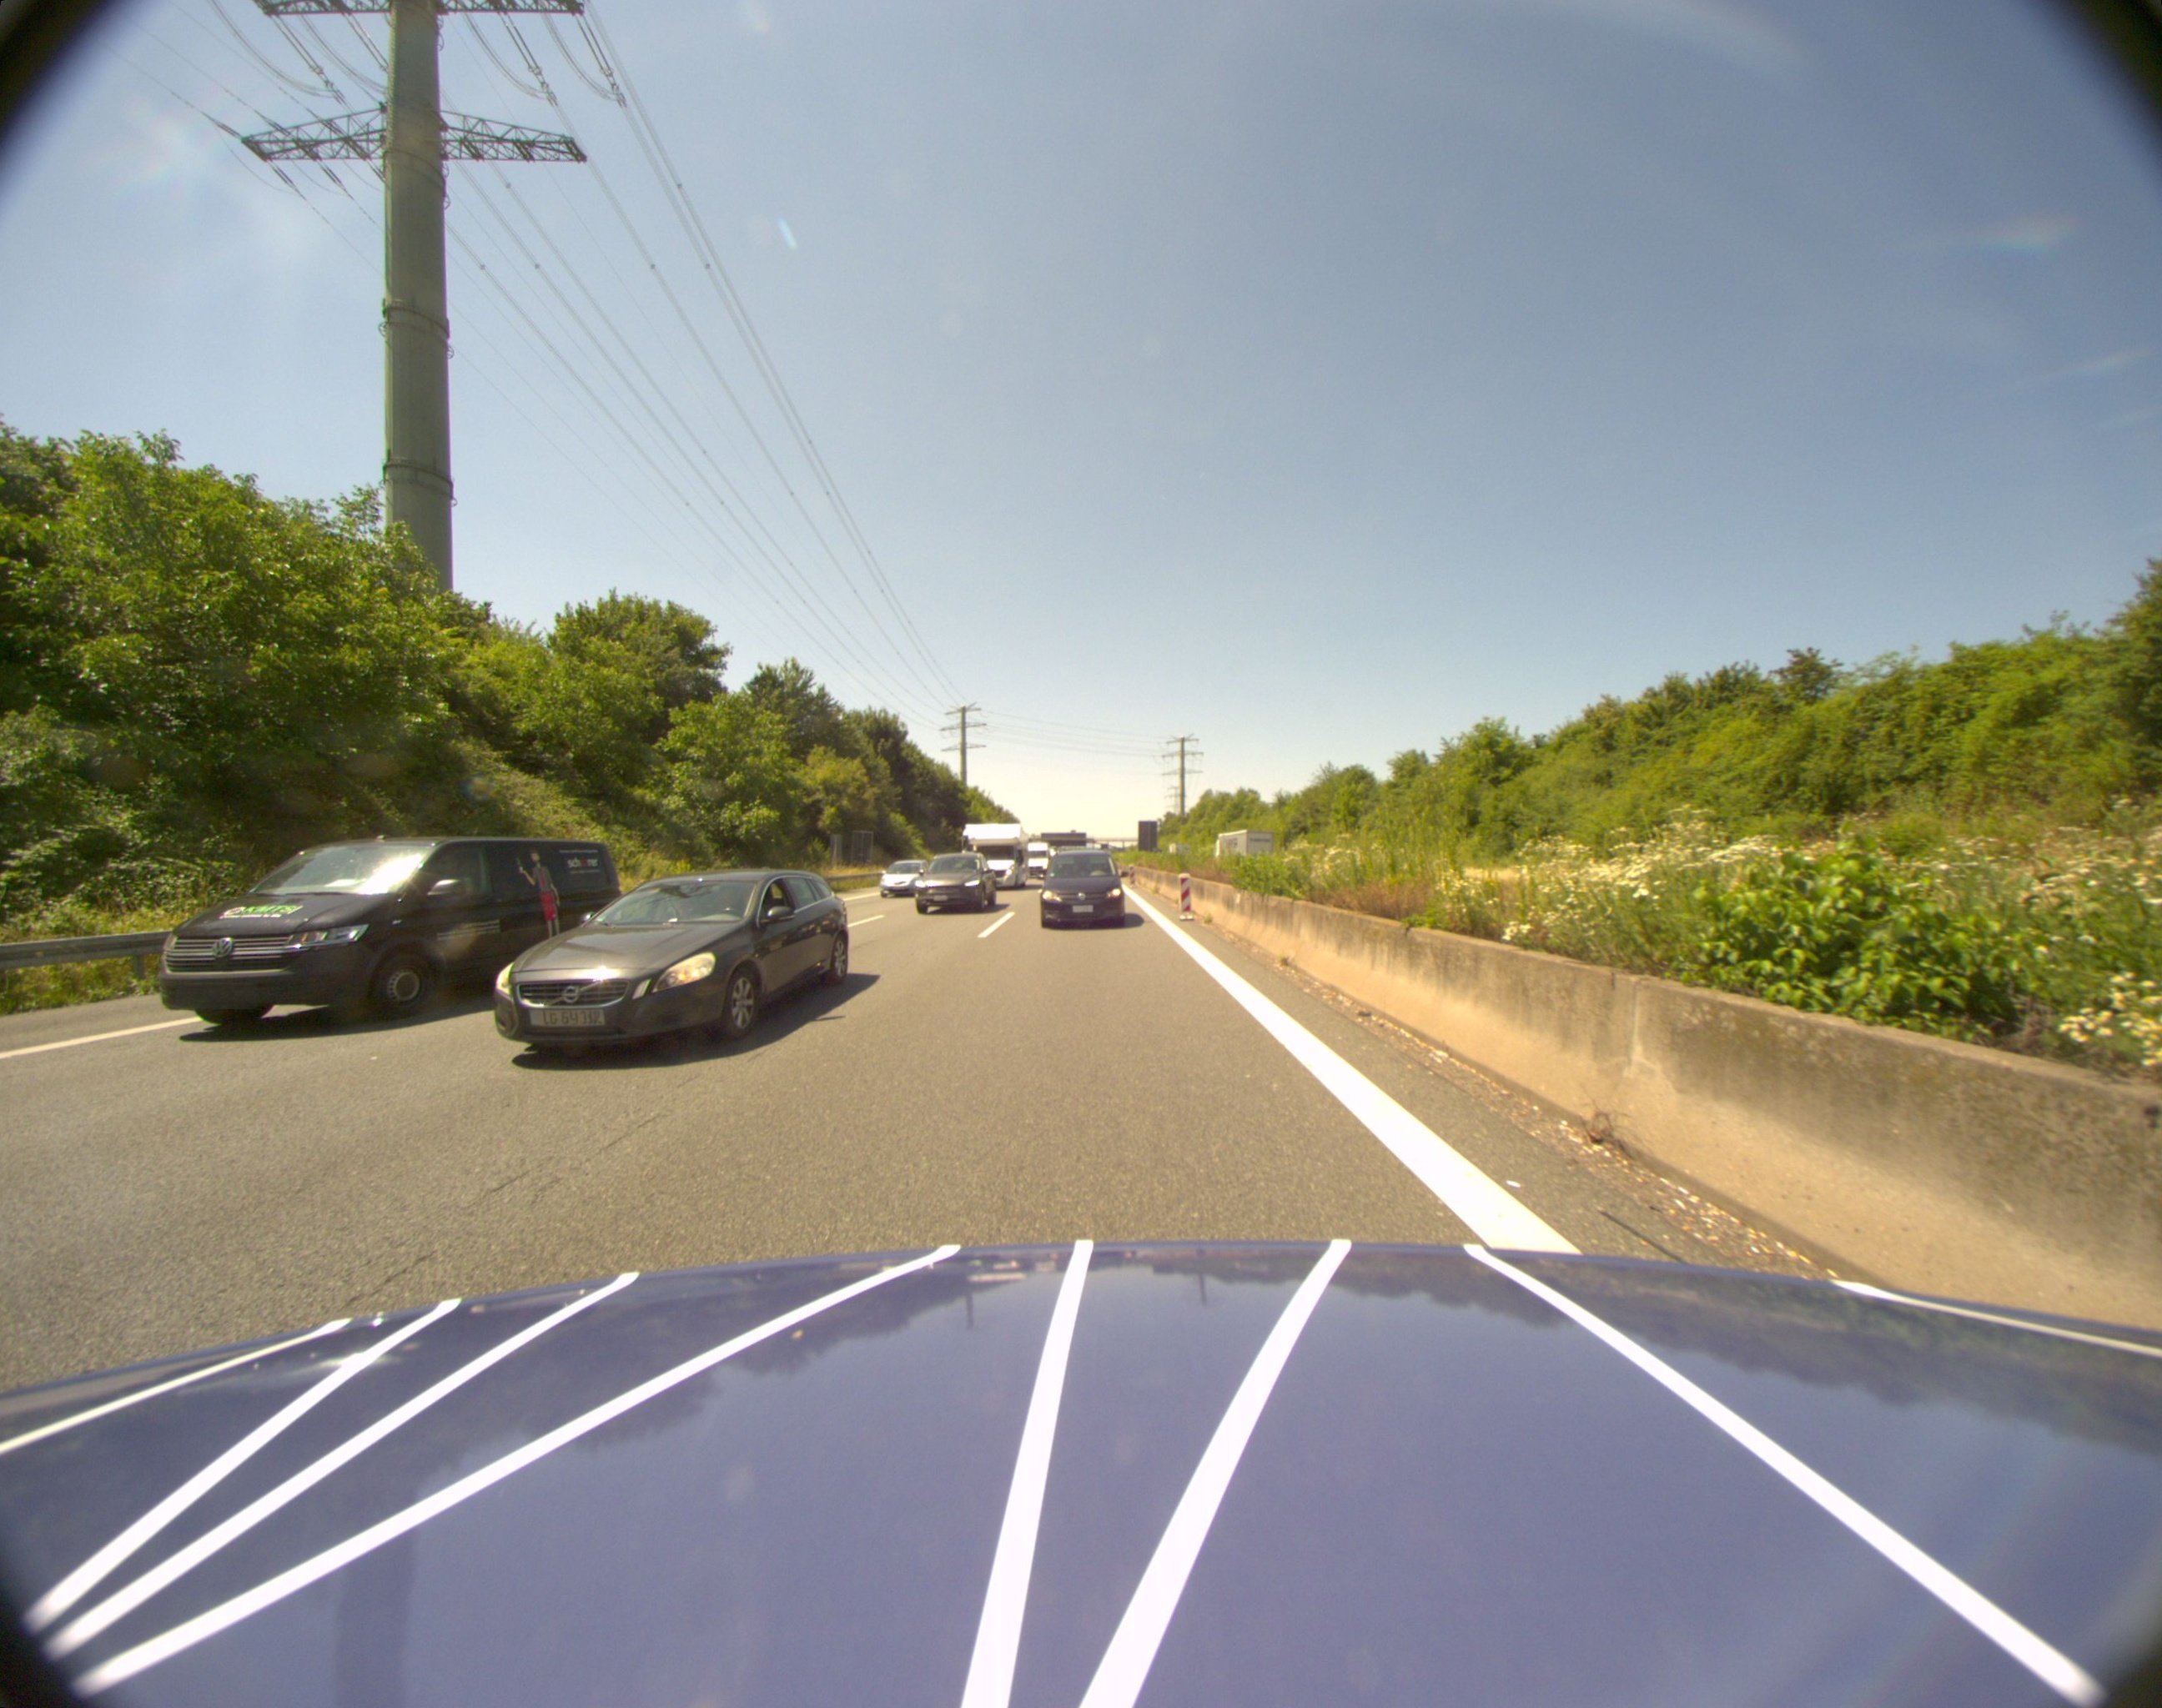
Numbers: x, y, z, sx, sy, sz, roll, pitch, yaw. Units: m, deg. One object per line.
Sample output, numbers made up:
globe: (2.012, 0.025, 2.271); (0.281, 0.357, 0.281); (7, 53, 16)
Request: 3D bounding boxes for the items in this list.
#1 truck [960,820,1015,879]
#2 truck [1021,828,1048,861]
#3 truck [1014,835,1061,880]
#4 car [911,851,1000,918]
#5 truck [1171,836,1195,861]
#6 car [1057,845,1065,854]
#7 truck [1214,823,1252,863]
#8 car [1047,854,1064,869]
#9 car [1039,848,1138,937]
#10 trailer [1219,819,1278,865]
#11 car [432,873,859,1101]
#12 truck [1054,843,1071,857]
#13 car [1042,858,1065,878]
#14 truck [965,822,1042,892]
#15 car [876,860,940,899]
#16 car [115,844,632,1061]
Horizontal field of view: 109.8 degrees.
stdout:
truck: (-7.178, -0.362, 60.131); (2.655, 4.128, 11.660); (-2, 1, 1)
truck: (-6.225, -1.266, 103.621); (2.655, 4.128, 11.660); (-2, 1, 1)
truck: (-3.093, 0.209, 56.631); (2.514, 2.997, 9.897); (-2, 1, 1)
car: (-3.543, 0.789, 22.308); (1.892, 1.693, 4.382); (-2, 1, -1)
truck: (16.899, -0.969, 126.259); (2.769, 3.866, 9.028); (2, 1, 0)
car: (-5.242, -1.179, 197.959); (1.998, 2.002, 4.000); (-2, 1, 1)
truck: (16.801, -1.215, 84.445); (3.024, 4.143, 5.805); (2, 1, 1)
car: (-3.136, 0.931, 93.271); (1.892, 1.693, 4.382); (-2, 1, -1)
car: (0.117, 0.746, 17.203); (1.892, 1.693, 4.382); (-2, 1, -1)
trailer: (16.734, -1.151, 77.167); (3.024, 4.143, 14.019); (2, 0, 1)
car: (-3.725, 1.003, 7.551); (1.800, 1.429, 4.230); (-2, 1, -1)
truck: (-3.100, -0.659, 130.207); (2.408, 2.203, 6.744); (-2, 1, 2)
car: (-2.464, 1.251, 69.122); (1.892, 1.693, 4.382); (-2, 1, -1)
truck: (-3.695, 0.080, 38.559); (2.514, 2.997, 9.897); (-2, 1, 1)
car: (-7.147, 1.004, 31.731); (1.800, 1.429, 3.730); (-2, 1, -1)
car: (-7.777, 0.871, 9.217); (1.788, 1.893, 4.697); (-2, 1, 0)
